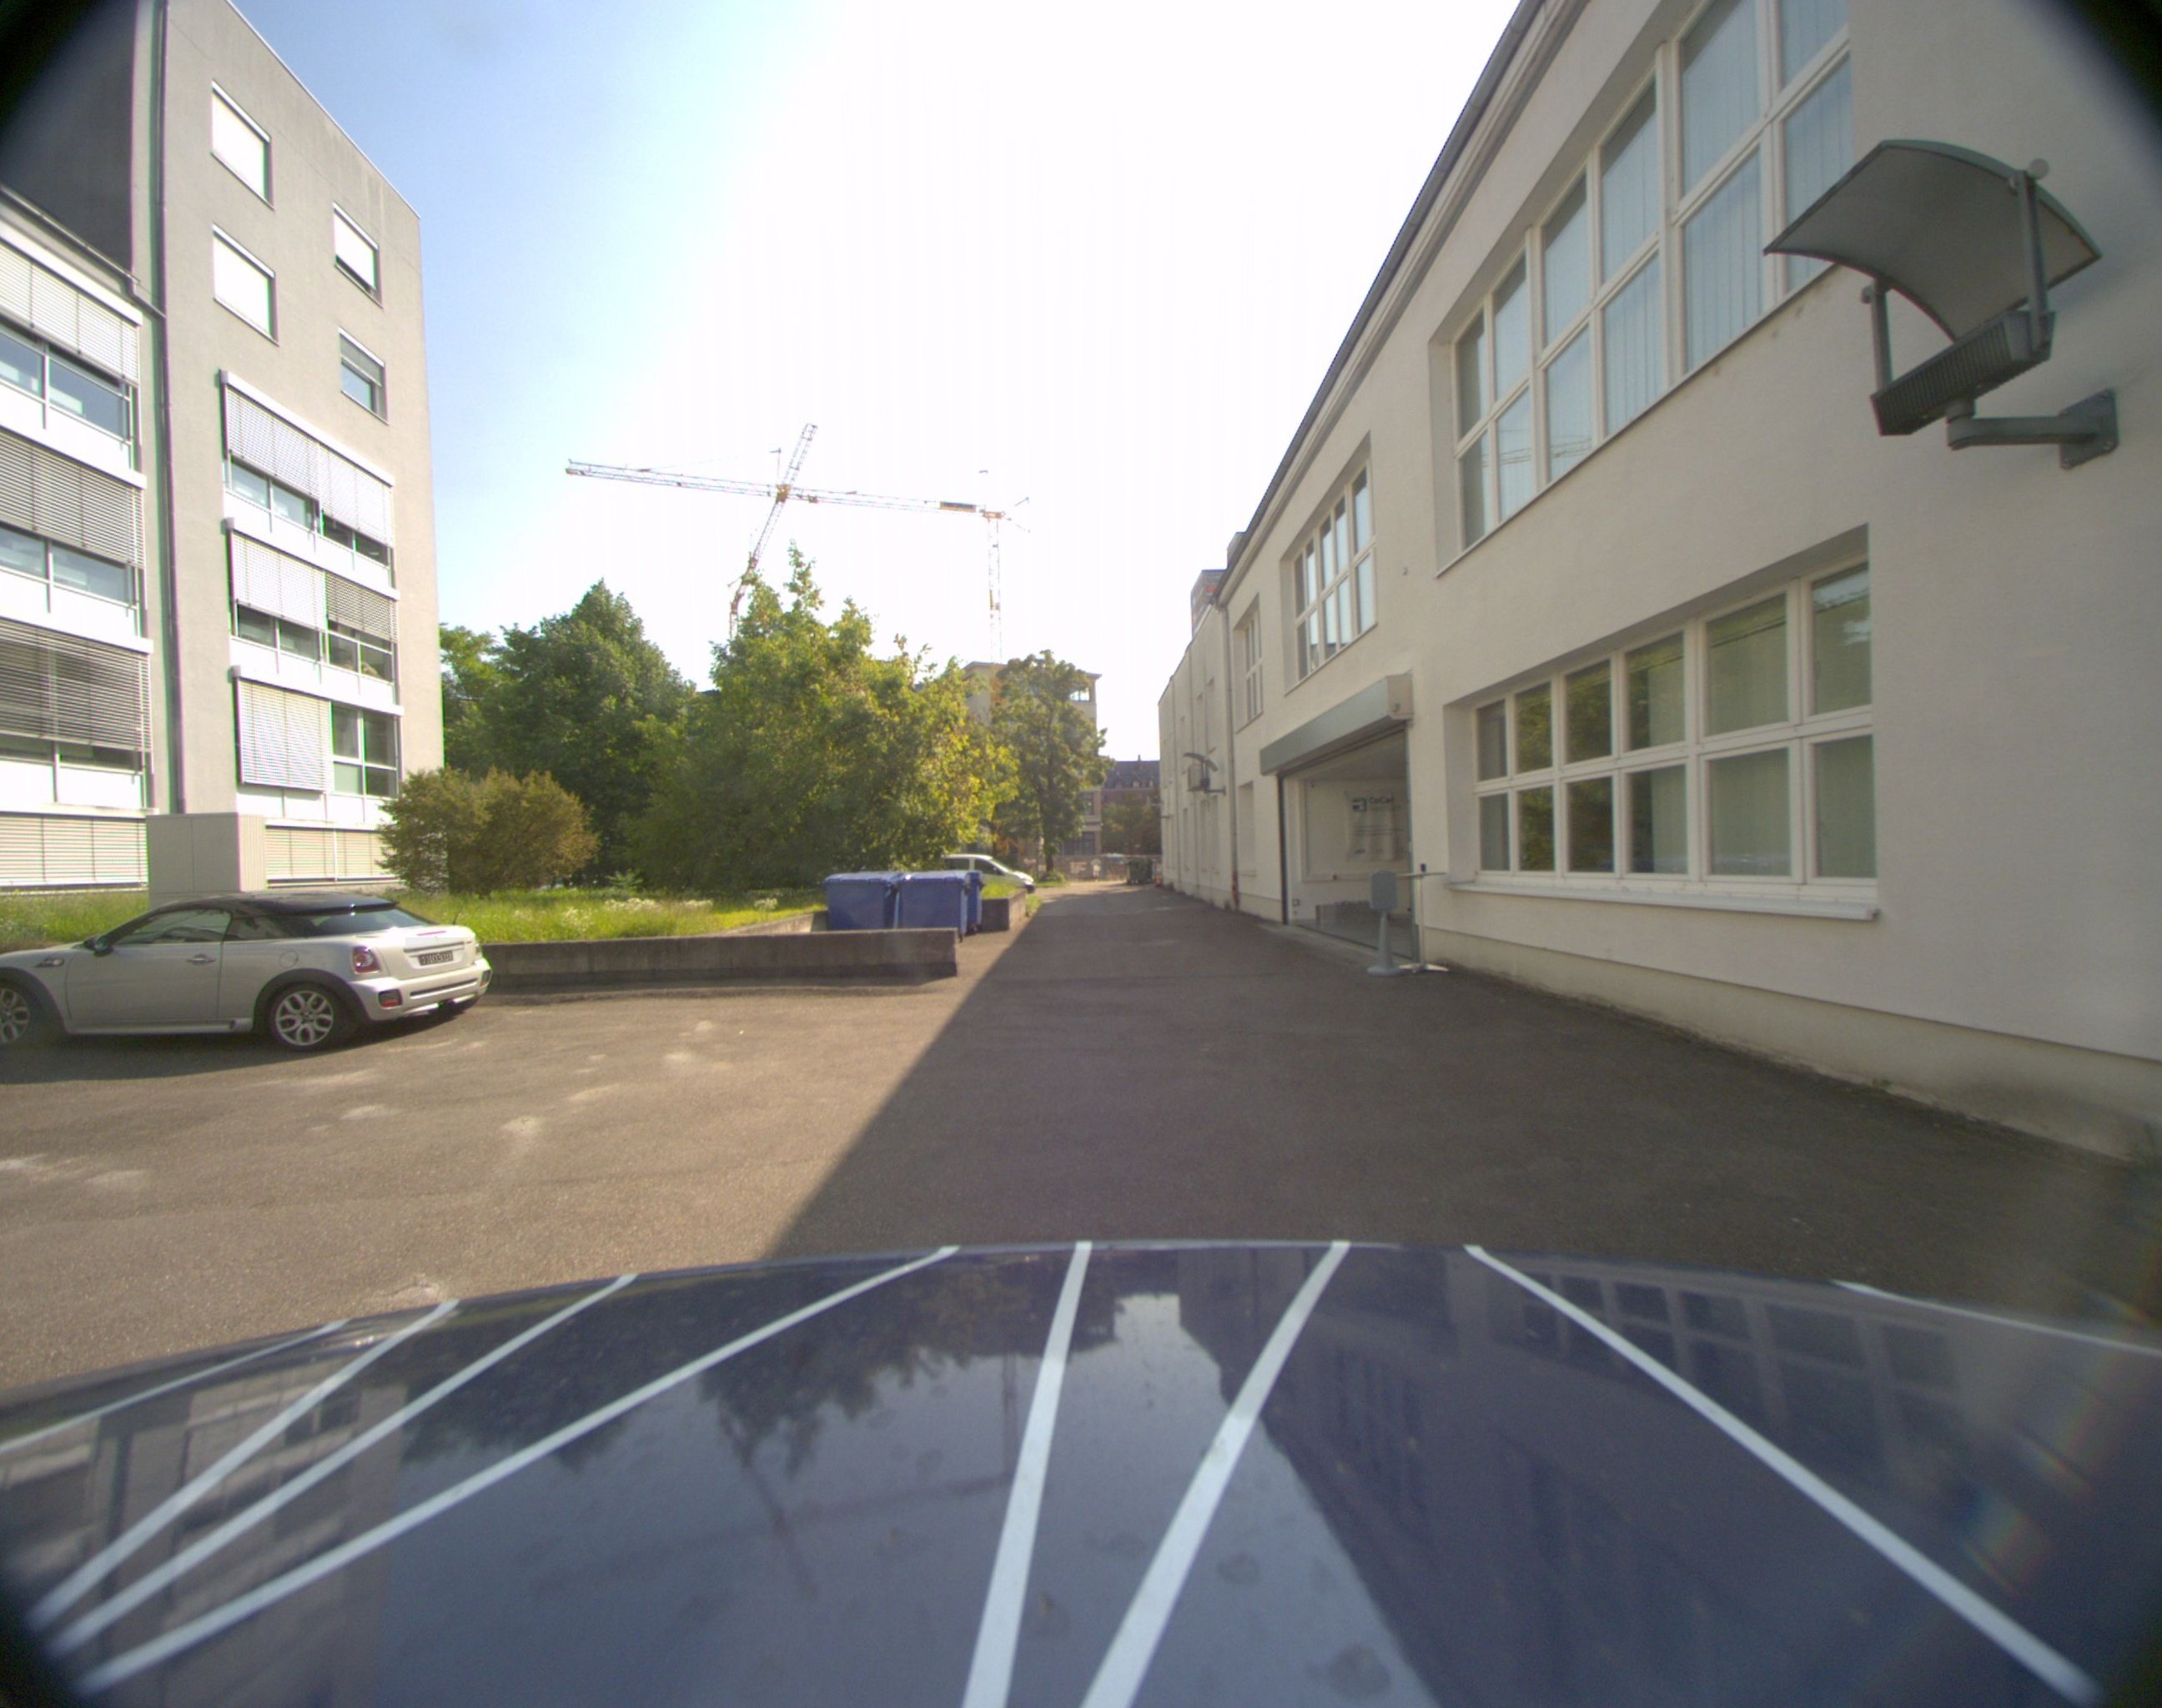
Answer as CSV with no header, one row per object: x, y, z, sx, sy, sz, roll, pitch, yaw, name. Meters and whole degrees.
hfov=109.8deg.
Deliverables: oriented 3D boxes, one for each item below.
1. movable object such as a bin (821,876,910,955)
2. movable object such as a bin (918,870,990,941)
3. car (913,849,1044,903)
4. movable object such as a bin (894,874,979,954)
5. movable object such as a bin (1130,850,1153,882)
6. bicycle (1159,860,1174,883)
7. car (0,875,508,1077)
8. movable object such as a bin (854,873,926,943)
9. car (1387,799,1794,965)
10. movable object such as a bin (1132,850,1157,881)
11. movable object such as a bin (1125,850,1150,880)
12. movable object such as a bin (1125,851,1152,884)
-3.984,1.118,14.145,1.237,1.333,1.117,-2,1,3,movable object such as a bin
-2.624,1.048,15.859,1.313,1.333,1.100,-2,1,-3,movable object such as a bin
-4.128,0.884,31.255,4.969,1.910,2.044,-3,1,2,car
-2.654,1.087,14.107,1.303,1.333,1.194,-2,1,-1,movable object such as a bin
3.360,0.669,42.498,1.183,1.696,1.395,-2,1,4,movable object such as a bin
4.743,0.935,42.235,0.477,1.206,2.008,-2,1,-2,bicycle
-8.035,1.062,7.291,3.629,1.536,1.802,2,1,-2,car
-3.958,1.097,15.862,1.230,1.333,1.076,-2,1,-5,movable object such as a bin
7.491,0.385,11.562,4.759,2.080,2.055,-3,1,0,car
3.634,0.647,43.907,1.184,1.696,1.376,-2,1,-4,movable object such as a bin
3.360,0.644,45.303,1.184,1.696,1.376,-2,1,-4,movable object such as a bin
3.052,0.696,40.695,1.184,1.696,1.376,-2,1,-4,movable object such as a bin
